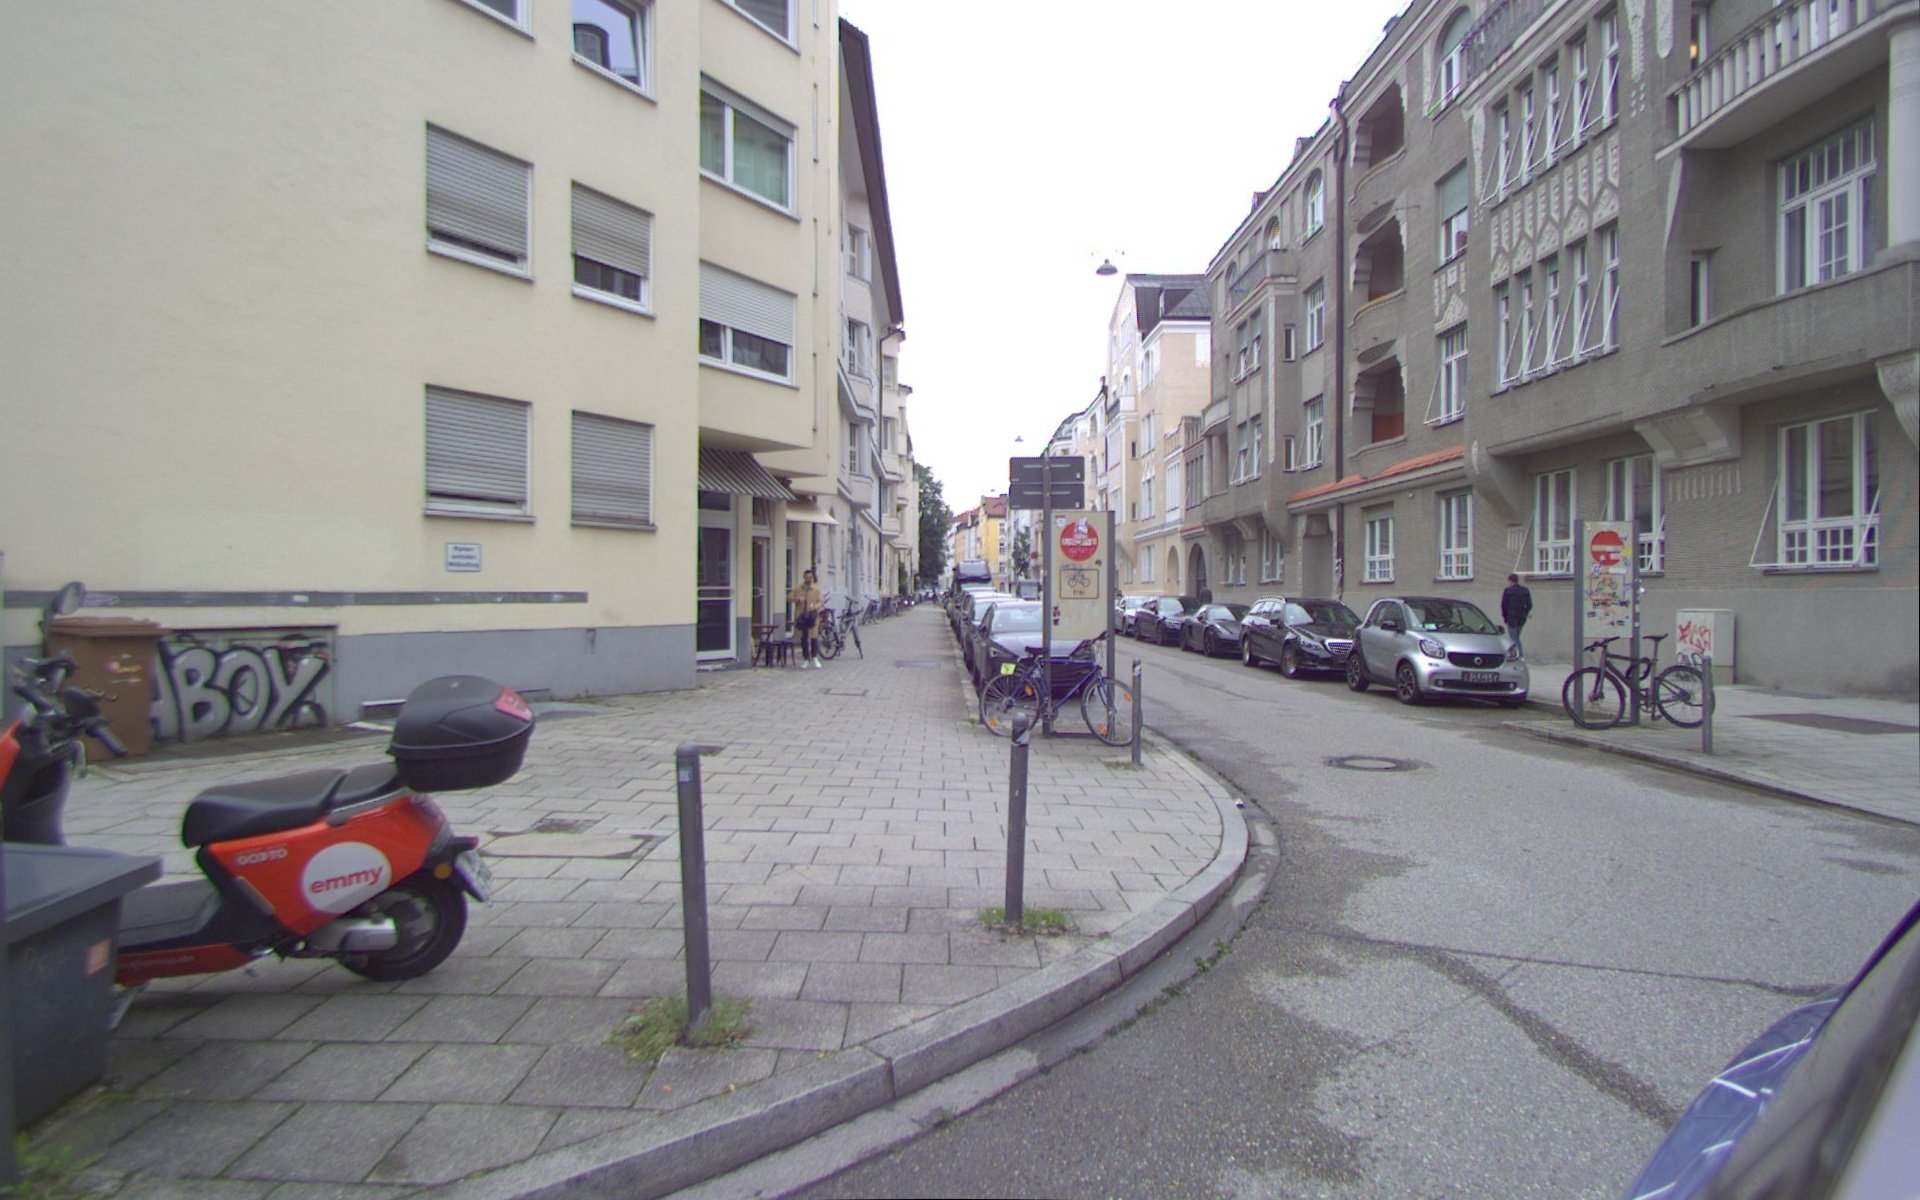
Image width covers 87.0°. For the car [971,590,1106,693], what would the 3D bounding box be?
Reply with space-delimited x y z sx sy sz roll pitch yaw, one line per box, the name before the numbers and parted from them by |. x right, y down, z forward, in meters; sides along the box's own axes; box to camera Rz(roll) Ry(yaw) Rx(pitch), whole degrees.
car | 1.183 0.584 17.213 1.665 1.490 4.614 -1 1 -3

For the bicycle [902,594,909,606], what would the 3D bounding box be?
bicycle | -4.242 0.003 79.112 0.530 0.970 1.819 -1 1 -3

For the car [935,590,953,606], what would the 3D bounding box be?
car | -1.563 -0.192 97.963 1.652 1.460 3.646 -1 1 -1

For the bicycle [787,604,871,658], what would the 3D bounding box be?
bicycle | -2.702 0.621 21.026 0.748 1.045 1.777 2 1 34

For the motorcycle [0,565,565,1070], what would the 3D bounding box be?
motorcycle | -2.403 0.583 3.292 2.041 1.373 0.819 -1 0 -24

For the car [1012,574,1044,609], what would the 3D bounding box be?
car | 5.449 -0.717 81.299 2.066 2.654 5.679 1 1 0

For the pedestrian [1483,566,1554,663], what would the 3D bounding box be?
pedestrian | 10.696 0.266 19.403 0.826 1.810 0.935 -1 0 2

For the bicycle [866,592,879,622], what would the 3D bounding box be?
bicycle | -3.598 0.273 41.615 0.473 1.165 1.789 2 0 -4

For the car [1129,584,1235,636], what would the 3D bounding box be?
car | 6.651 0.256 30.834 1.961 1.466 4.782 0 1 -3

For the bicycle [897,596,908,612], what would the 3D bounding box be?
bicycle | -3.978 0.273 70.375 0.636 1.131 1.968 -1 1 -1

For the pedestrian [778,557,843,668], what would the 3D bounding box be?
pedestrian | -2.654 0.222 17.901 0.727 1.871 1.017 4 -2 -29

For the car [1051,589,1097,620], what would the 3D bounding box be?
car | 6.405 0.223 57.120 1.919 1.679 4.619 -1 1 -2

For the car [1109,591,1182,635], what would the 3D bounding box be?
car | 6.588 0.408 36.343 1.777 1.449 4.439 1 0 0

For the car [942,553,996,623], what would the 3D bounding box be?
car | 0.338 -0.612 47.414 2.218 2.996 6.136 -1 1 -2

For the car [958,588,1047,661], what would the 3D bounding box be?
car | 0.881 0.477 22.910 1.607 1.490 3.858 -1 1 -3

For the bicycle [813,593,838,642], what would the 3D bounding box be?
bicycle | -3.543 0.441 26.696 0.553 1.208 1.679 2 0 -6

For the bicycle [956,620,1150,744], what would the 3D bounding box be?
bicycle | 0.912 0.767 9.998 1.779 1.099 0.660 1 -1 27

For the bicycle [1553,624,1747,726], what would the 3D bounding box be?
bicycle | 7.607 0.813 11.197 1.773 1.028 0.540 -1 0 -2

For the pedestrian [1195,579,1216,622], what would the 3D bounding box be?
pedestrian | 10.473 0.019 43.174 0.705 1.840 0.731 -1 0 -2

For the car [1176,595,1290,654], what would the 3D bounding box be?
car | 6.778 0.554 25.564 1.727 1.348 4.097 0 1 0

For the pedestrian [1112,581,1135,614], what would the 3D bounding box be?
pedestrian | 8.581 -0.137 53.153 0.977 1.750 0.940 -1 0 -1

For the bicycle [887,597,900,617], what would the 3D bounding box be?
bicycle | -3.770 0.385 57.193 0.631 1.131 1.968 -1 1 -1

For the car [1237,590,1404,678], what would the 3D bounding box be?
car | 6.923 0.571 19.977 1.728 1.534 4.705 0 1 2

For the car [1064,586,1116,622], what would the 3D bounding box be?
car | 6.121 0.162 48.091 1.773 1.592 3.816 -1 1 -3

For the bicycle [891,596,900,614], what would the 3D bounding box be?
bicycle | -4.063 0.319 63.900 0.485 1.131 1.968 -1 1 -1

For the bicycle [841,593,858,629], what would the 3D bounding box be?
bicycle | -3.652 0.352 33.614 0.473 1.165 1.789 -1 1 -4

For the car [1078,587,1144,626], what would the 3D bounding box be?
car | 6.163 0.219 41.915 1.807 1.532 4.611 0 1 -3

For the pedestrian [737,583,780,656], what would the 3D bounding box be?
pedestrian | -3.993 0.373 20.050 0.529 1.416 0.666 0 0 32

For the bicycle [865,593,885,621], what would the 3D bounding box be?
bicycle | -3.667 0.277 43.864 0.475 1.165 1.784 -1 1 7

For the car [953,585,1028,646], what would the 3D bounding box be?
car | 0.778 0.374 28.114 1.606 1.556 3.859 -1 1 -5

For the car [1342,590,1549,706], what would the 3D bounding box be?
car | 7.174 0.640 15.263 1.677 1.534 2.911 1 0 0
